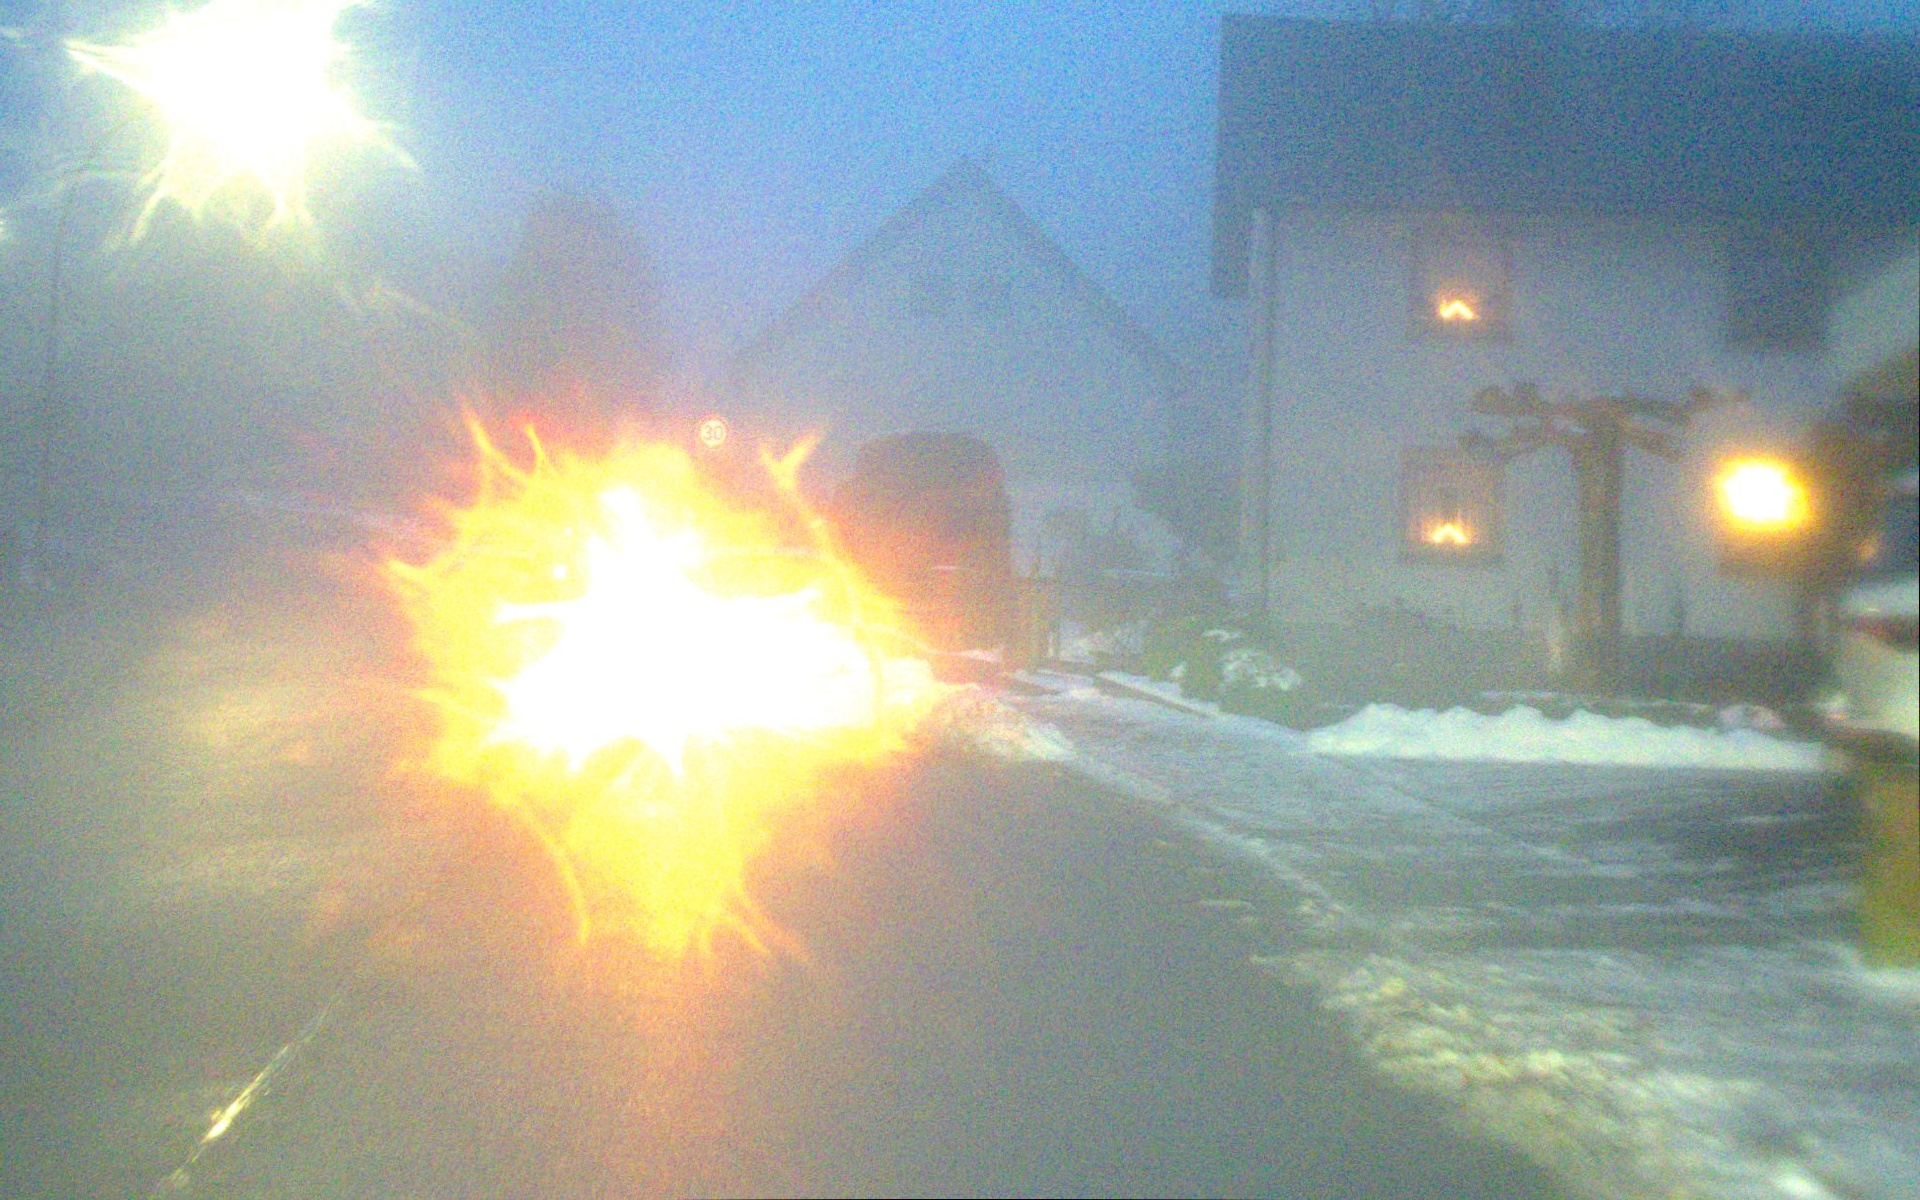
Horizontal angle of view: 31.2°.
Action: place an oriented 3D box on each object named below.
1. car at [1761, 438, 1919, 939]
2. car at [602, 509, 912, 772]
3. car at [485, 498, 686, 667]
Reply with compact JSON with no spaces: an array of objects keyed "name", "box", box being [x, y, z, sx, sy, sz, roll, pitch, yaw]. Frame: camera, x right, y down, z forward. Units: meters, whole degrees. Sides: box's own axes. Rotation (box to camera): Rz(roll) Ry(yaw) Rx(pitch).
[{"name":"car","box":[5.438,0.335,13.522,4.206,1.852,1.911,0,0,5]},{"name":"car","box":[-1.359,0.235,23.168,1.897,1.604,4.000,0,0,-3]},{"name":"car","box":[-4.112,-0.194,37.311,1.993,1.731,3.879,0,0,-9]}]
